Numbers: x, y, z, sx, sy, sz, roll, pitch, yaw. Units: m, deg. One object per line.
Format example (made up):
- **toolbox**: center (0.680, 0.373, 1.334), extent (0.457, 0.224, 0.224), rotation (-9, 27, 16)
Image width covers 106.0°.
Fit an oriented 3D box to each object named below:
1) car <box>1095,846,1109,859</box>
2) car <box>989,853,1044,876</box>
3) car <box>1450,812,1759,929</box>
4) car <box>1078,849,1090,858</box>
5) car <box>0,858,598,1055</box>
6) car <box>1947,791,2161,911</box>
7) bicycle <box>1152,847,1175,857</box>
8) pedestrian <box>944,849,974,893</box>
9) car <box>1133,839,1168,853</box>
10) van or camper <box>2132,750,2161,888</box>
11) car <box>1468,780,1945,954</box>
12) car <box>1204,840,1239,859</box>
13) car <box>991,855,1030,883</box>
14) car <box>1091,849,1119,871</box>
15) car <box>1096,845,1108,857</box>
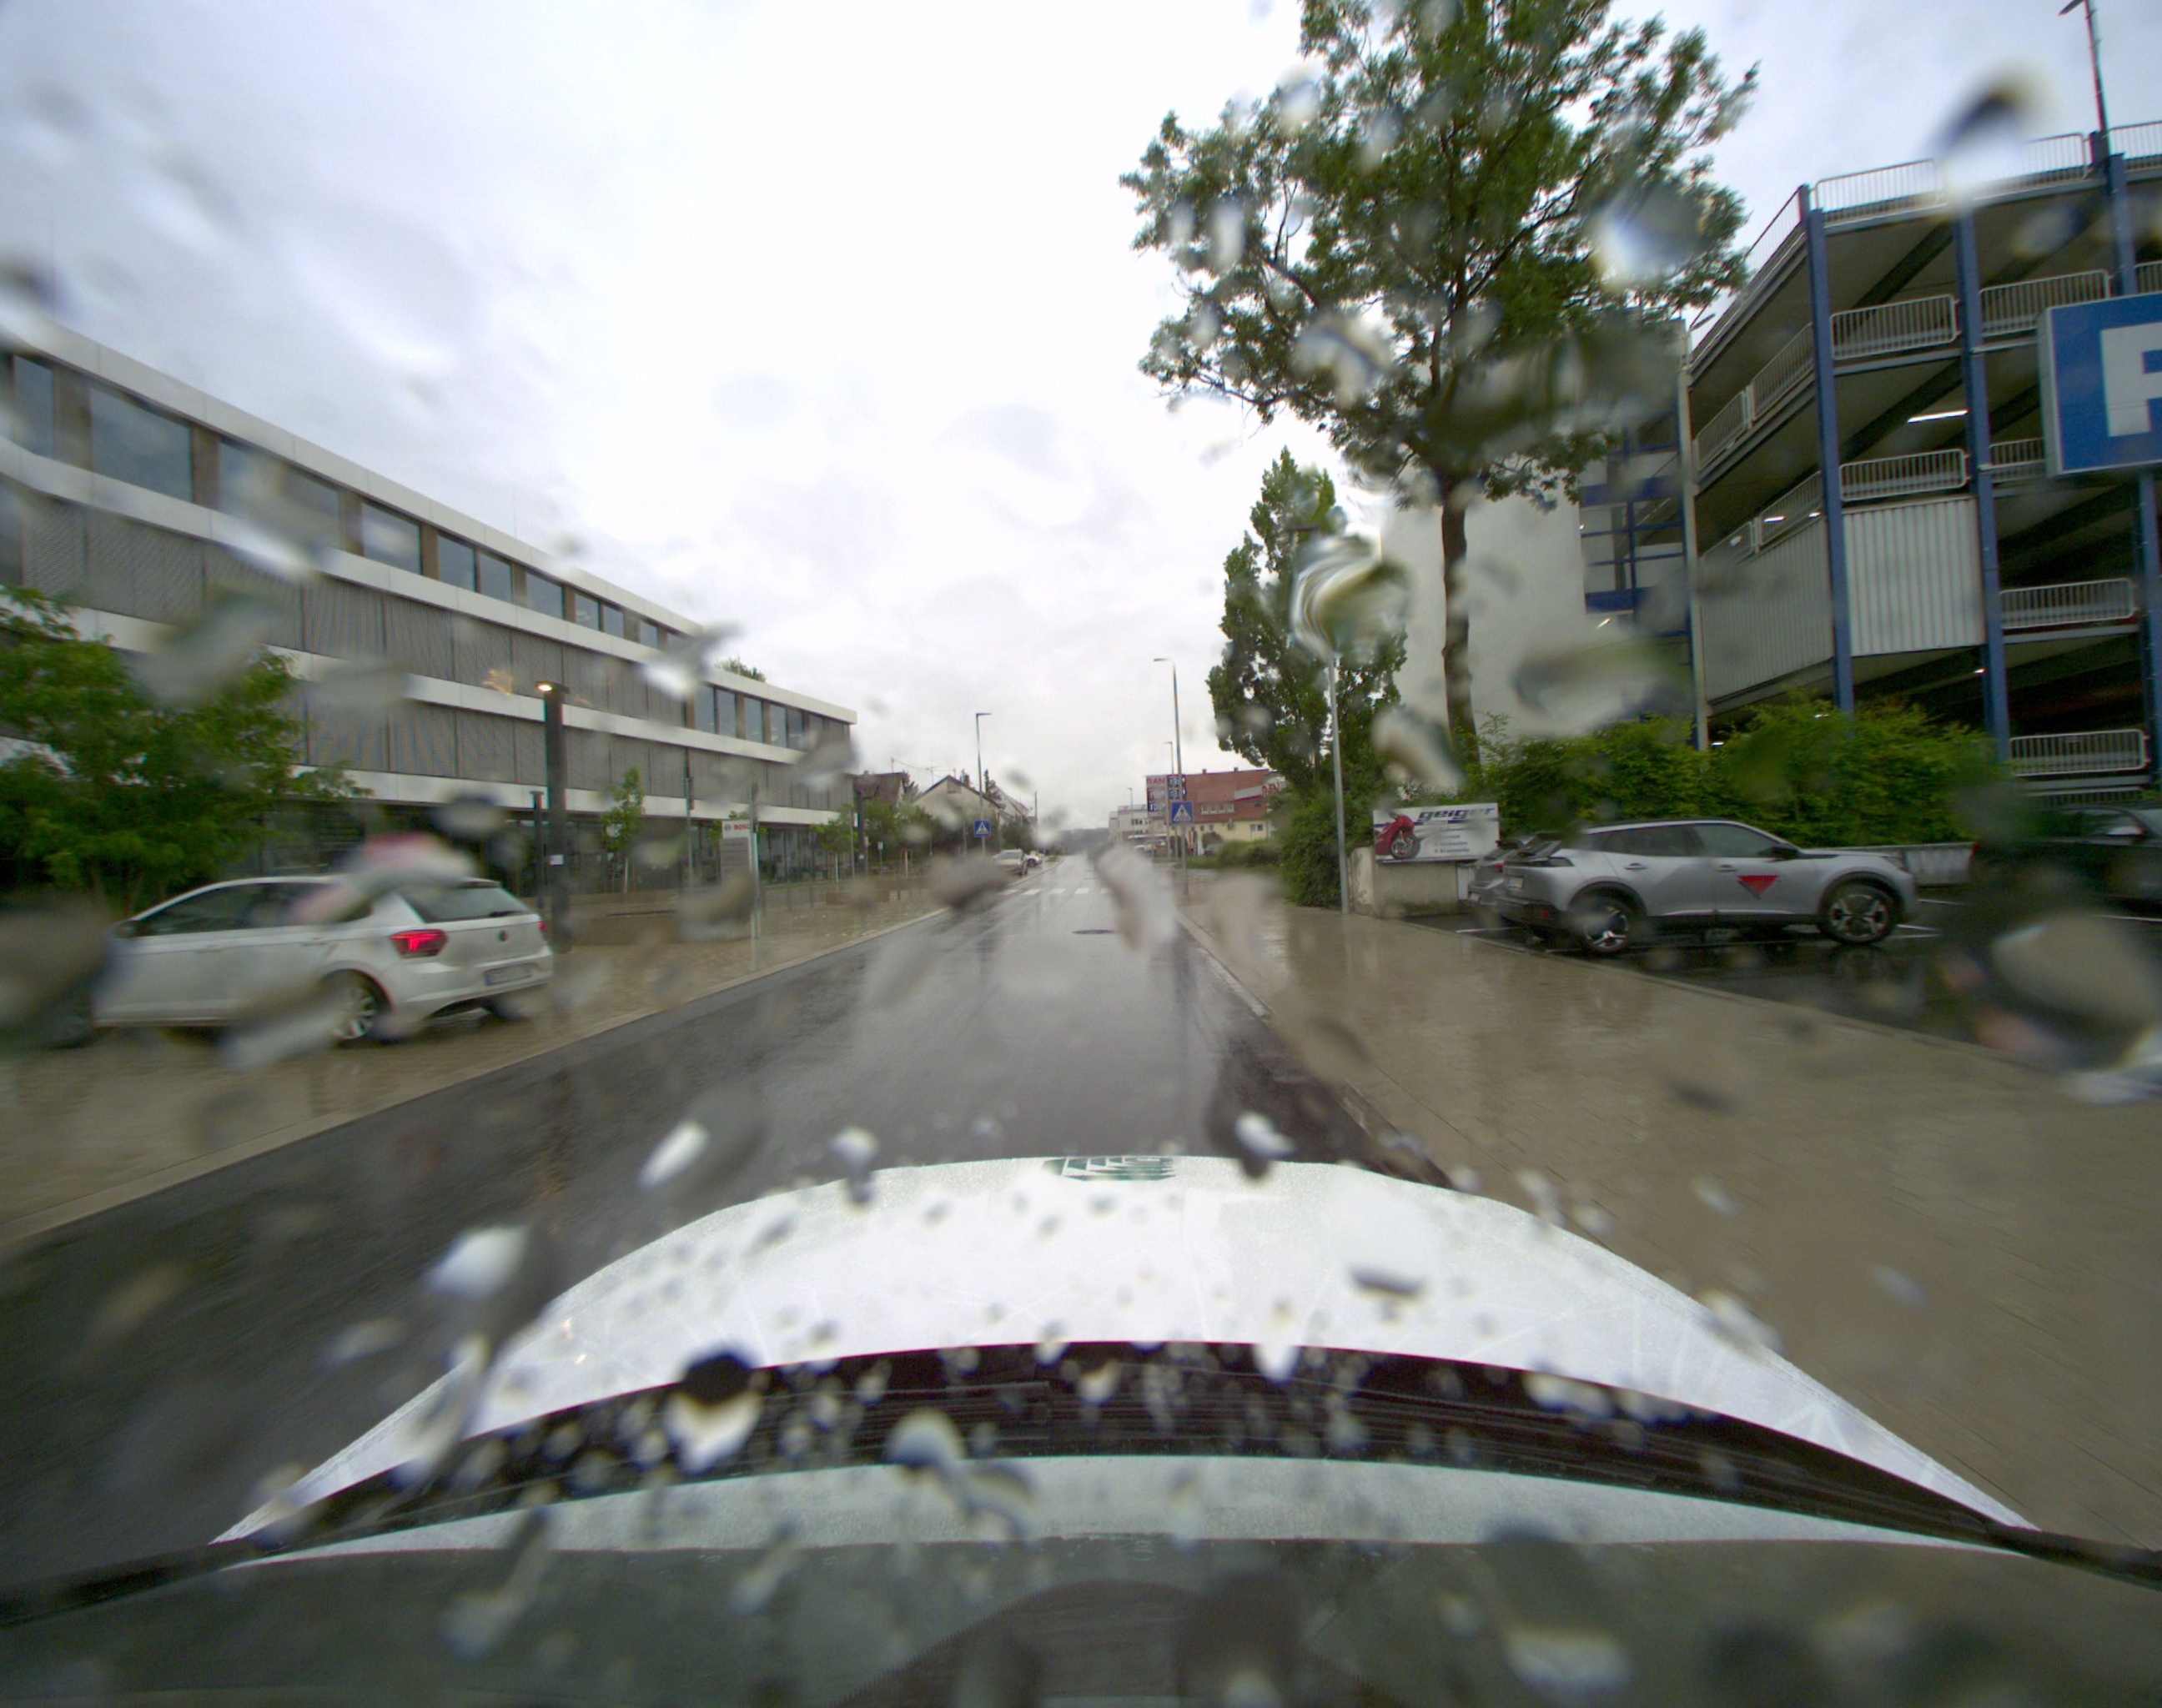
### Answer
- **car**: center (3.090, -0.193, 117.857), extent (1.986, 1.706, 4.001), rotation (1, -2, 2)
- **car**: center (-5.935, 1.002, 74.913), extent (4.730, 2.014, 2.002), rotation (1, -2, 5)
- **car**: center (7.971, 0.261, 12.762), extent (3.598, 1.494, 1.812), rotation (-4, 0, 10)
- **car**: center (0.654, -0.024, 161.692), extent (2.146, 1.706, 4.001), rotation (1, -2, 2)
- **car**: center (-7.003, 0.840, 7.508), extent (3.912, 1.423, 1.899), rotation (-3, 0, 2)
- **car**: center (14.007, -0.080, 10.375), extent (1.920, 1.442, 4.219), rotation (-3, 0, 10)
- **bicycle**: center (9.600, -0.231, 95.254), extent (0.672, 1.067, 3.594), rotation (2, -2, -29)
- **pedestrian**: center (-4.910, 0.677, 32.833), extent (1.010, 1.724, 0.772), rotation (-2, 0, -1)
- **car**: center (8.689, -1.008, 101.899), extent (4.101, 1.706, 1.787), rotation (1, -2, -2)
- **van or camper**: center (16.467, -0.536, 10.054), extent (1.825, 2.036, 4.478), rotation (-3, 0, 13)
- **car**: center (7.390, 0.182, 10.149), extent (4.180, 1.649, 2.006), rotation (-5, -1, 11)
- **car**: center (12.704, -0.375, 73.848), extent (1.993, 1.552, 3.986), rotation (1, -2, -10)
- **car**: center (-4.499, 0.939, 52.490), extent (1.986, 1.629, 4.155), rotation (-3, 0, 2)
- **car**: center (1.807, 0.490, 62.636), extent (1.942, 1.556, 3.998), rotation (1, -2, -1)
- **car**: center (3.395, -0.455, 130.934), extent (1.986, 1.706, 4.001), rotation (1, -2, 2)
